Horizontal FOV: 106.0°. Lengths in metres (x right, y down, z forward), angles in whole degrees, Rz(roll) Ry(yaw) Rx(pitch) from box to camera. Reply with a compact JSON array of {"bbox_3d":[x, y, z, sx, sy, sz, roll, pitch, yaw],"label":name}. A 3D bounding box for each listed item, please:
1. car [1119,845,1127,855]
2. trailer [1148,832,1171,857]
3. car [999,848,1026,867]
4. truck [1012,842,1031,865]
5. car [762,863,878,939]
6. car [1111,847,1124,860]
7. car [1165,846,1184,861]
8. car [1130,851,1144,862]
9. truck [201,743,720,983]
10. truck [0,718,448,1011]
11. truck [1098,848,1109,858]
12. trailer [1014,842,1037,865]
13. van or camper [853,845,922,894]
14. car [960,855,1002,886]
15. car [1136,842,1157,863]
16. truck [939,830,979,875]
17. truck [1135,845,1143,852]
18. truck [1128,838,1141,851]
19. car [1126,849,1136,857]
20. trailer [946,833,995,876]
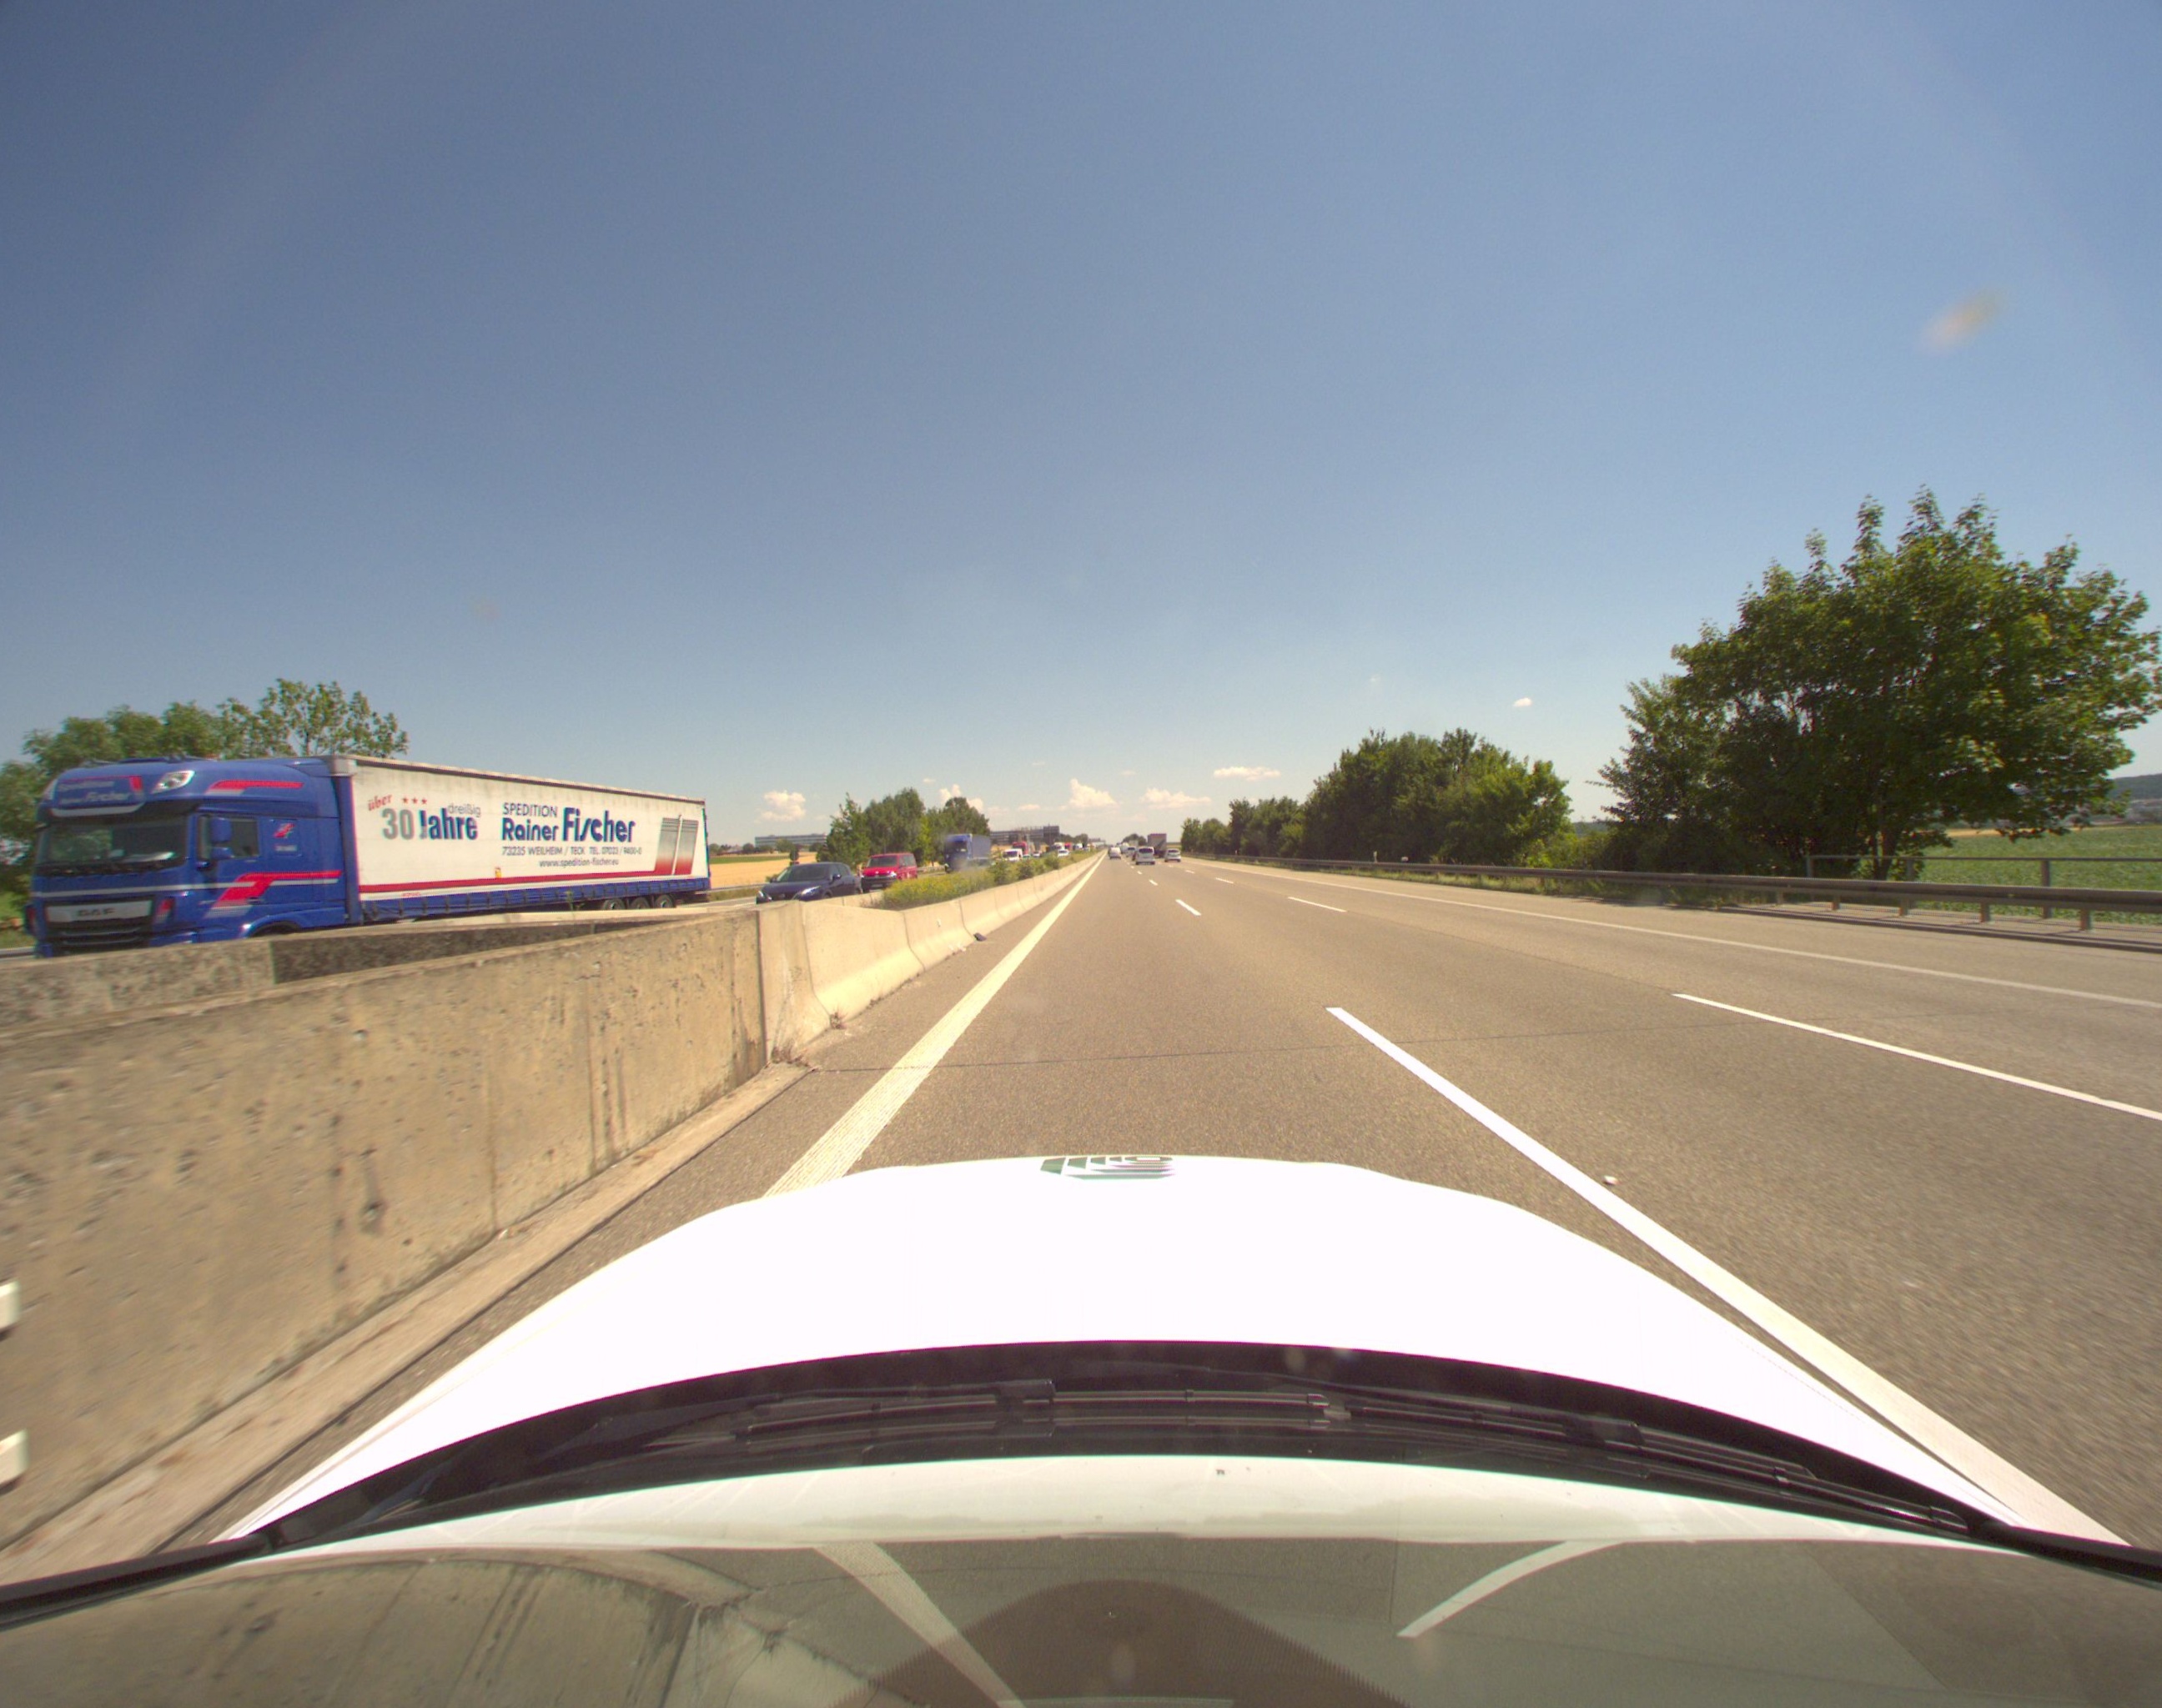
[{"bbox_3d":[10.445,-0.911,202.595,1.766,2.392,4.002,-1,-1,2],"label":"car"},{"bbox_3d":[13.188,-1.536,138.055,3.265,3.967,9.116,-1,-1,2],"label":"trailer"},{"bbox_3d":[-7.901,0.364,94.385,2.175,2.013,5.769,-3,0,4],"label":"car"},{"bbox_3d":[-10.543,-0.073,144.749,2.845,3.855,4.002,-3,0,2],"label":"truck"},{"bbox_3d":[-7.642,1.304,24.382,1.807,1.946,4.616,-2,0,1],"label":"car"},{"bbox_3d":[5.801,-0.023,130.664,1.986,2.014,4.002,-1,-1,2],"label":"car"},{"bbox_3d":[11.447,-0.031,99.891,1.986,1.794,4.002,-1,-1,2],"label":"car"},{"bbox_3d":[7.782,0.375,113.127,1.766,1.447,4.002,-1,-1,2],"label":"car"},{"bbox_3d":[-14.615,0.163,22.120,2.583,4.238,14.129,-4,0,2],"label":"truck"},{"bbox_3d":[-14.865,0.156,14.749,2.583,4.238,4.856,-4,0,2],"label":"truck"},{"bbox_3d":[4.726,-0.210,169.187,2.204,2.013,4.973,-2,0,1],"label":"truck"},{"bbox_3d":[-10.275,-0.120,152.855,2.845,3.855,12.191,-3,0,2],"label":"trailer"},{"bbox_3d":[-9.961,0.749,42.354,2.086,2.274,5.495,-2,0,1],"label":"van or camper"},{"bbox_3d":[-5.636,0.890,46.321,1.678,1.566,4.564,-3,0,1],"label":"car"},{"bbox_3d":[6.841,-0.176,85.782,1.986,2.120,4.002,-1,-1,2],"label":"car"},{"bbox_3d":[-12.514,-0.126,83.974,2.854,4.350,5.589,-3,0,2],"label":"truck"},{"bbox_3d":[16.293,-1.475,229.045,1.986,2.013,4.002,-2,0,2],"label":"truck"},{"bbox_3d":[17.258,-3.123,261.871,3.801,3.904,9.584,-2,0,2],"label":"truck"},{"bbox_3d":[9.317,-0.171,151.185,1.766,1.447,4.002,-1,-1,2],"label":"car"},{"bbox_3d":[-12.218,0.050,91.147,2.872,4.350,13.650,-3,0,2],"label":"trailer"}]
